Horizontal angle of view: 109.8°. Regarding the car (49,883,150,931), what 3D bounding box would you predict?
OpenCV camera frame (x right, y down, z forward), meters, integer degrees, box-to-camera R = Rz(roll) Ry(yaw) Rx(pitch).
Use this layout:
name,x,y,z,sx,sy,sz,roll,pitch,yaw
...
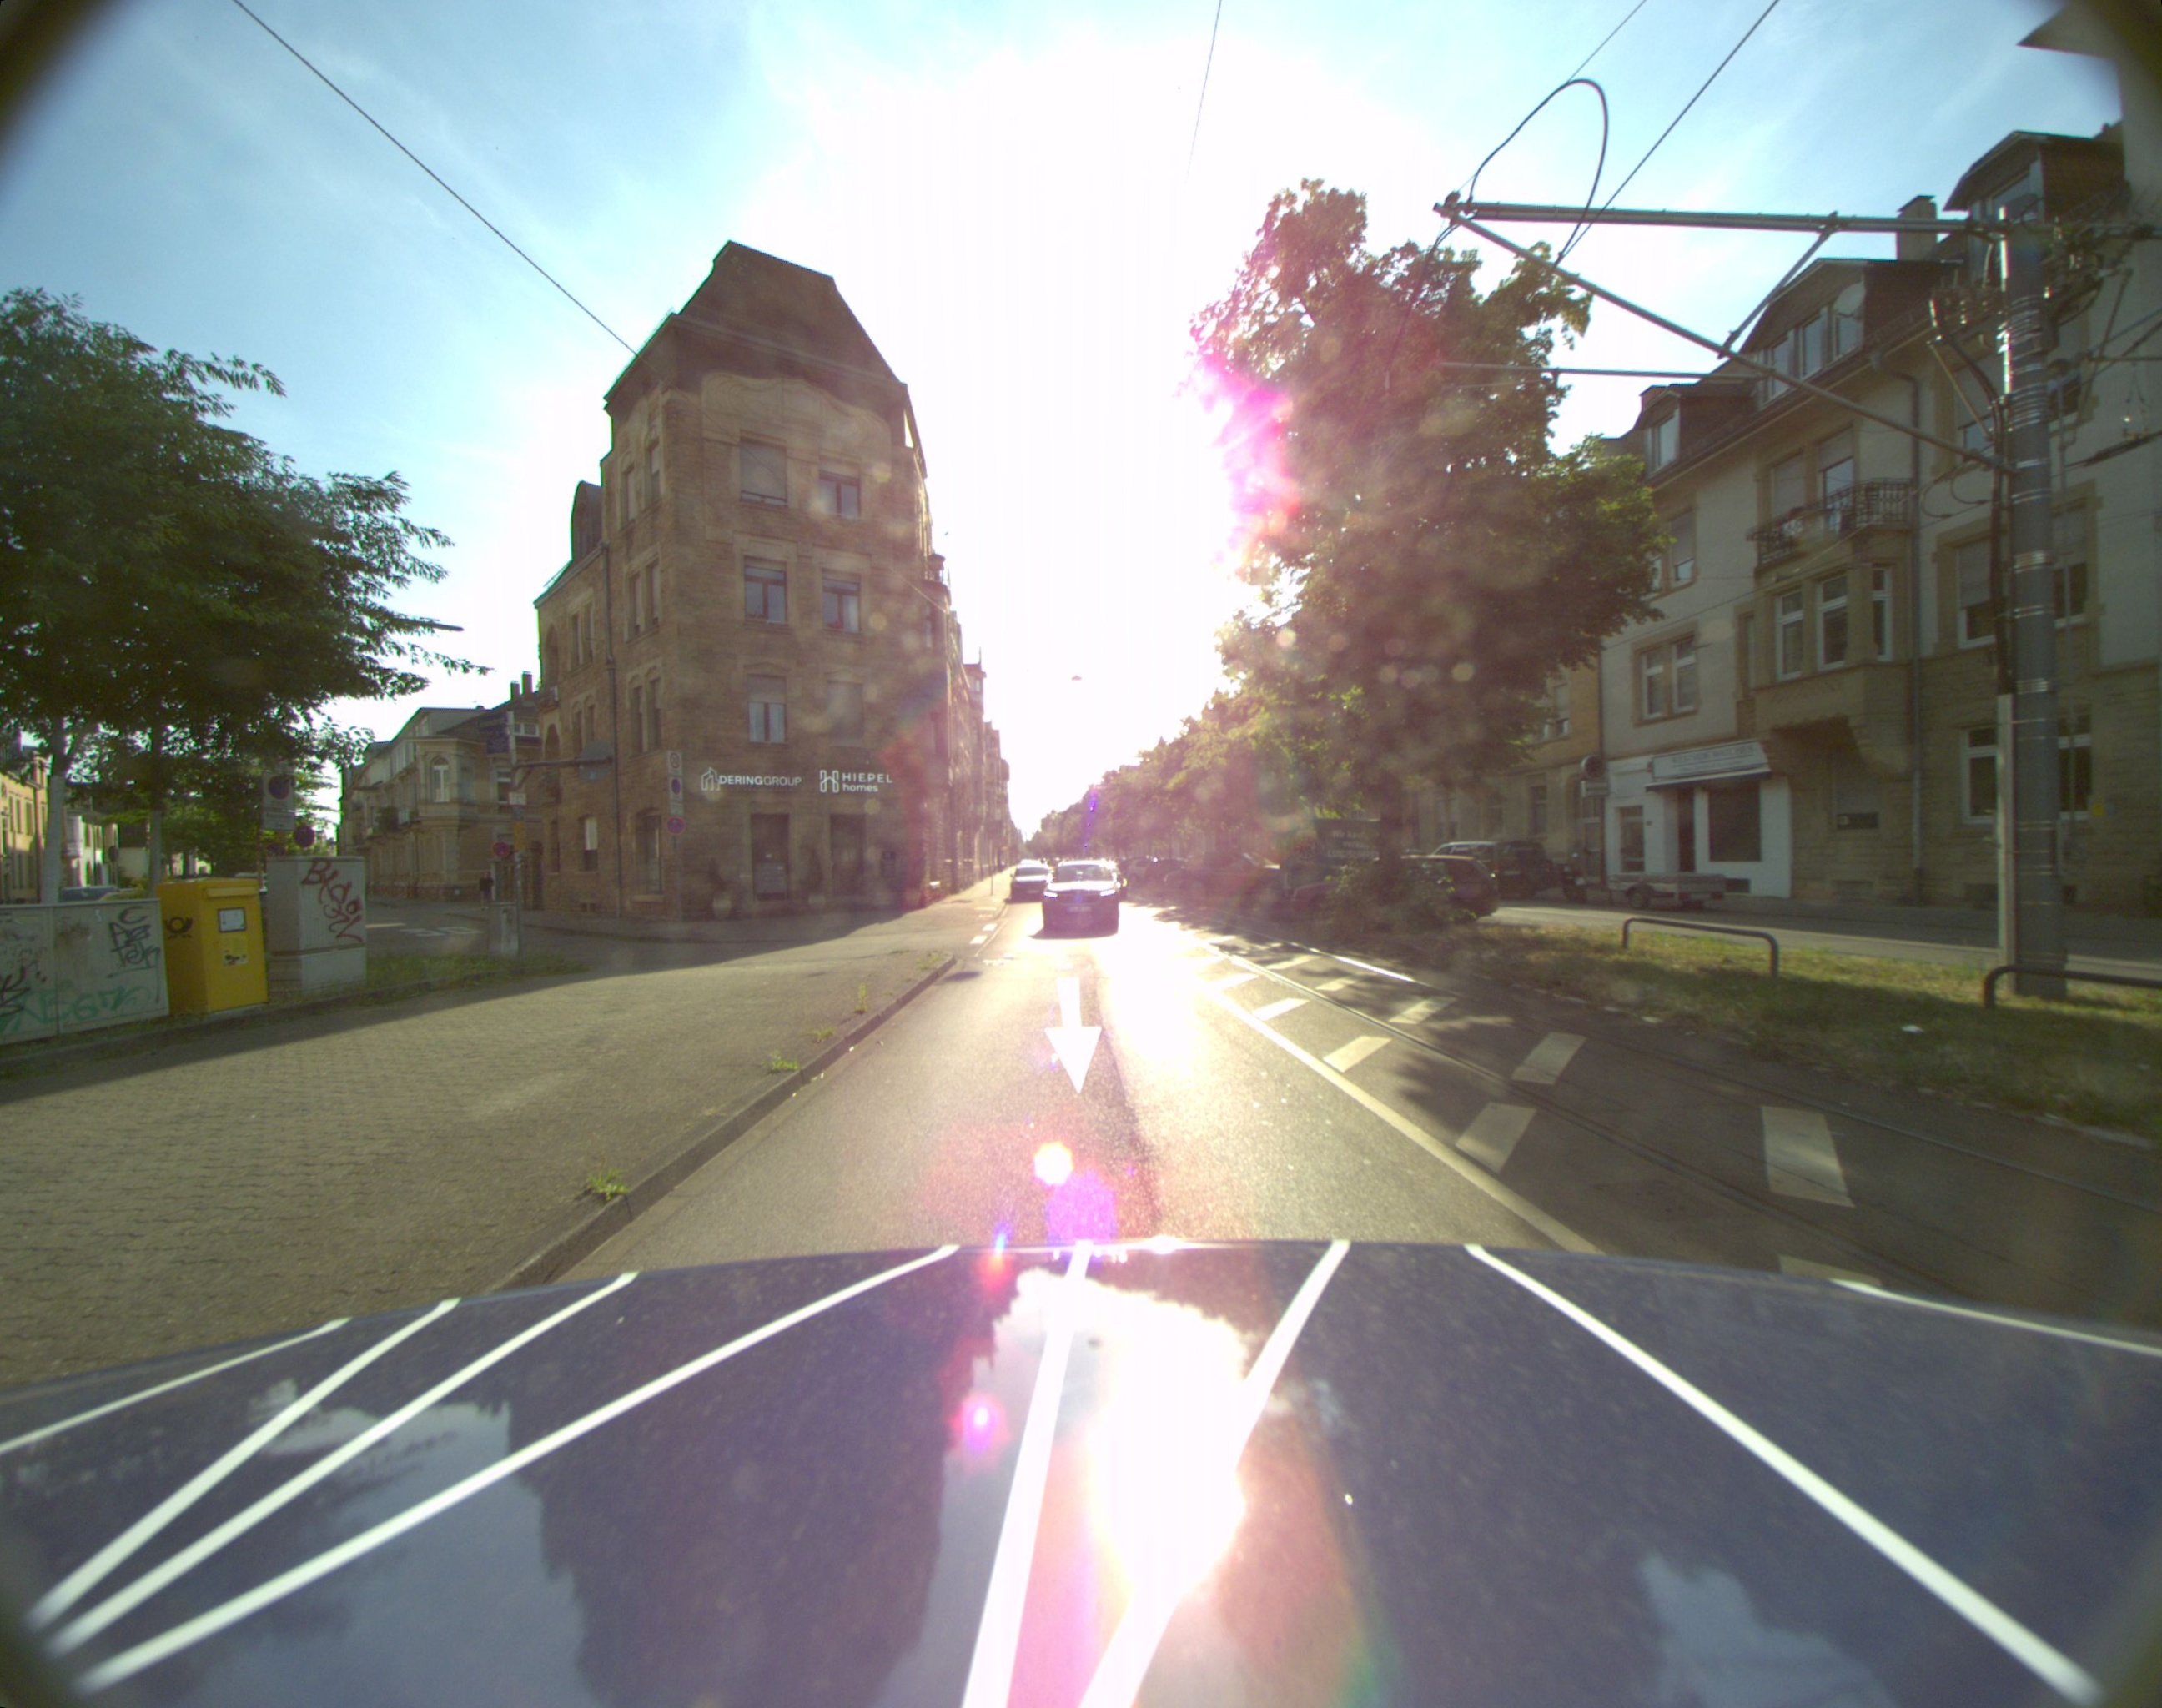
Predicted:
name,x,y,z,sx,sy,sz,roll,pitch,yaw
car,-38.673,2.044,30.046,3.989,1.641,2.004,-3,0,44

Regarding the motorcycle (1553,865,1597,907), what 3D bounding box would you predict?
name,x,y,z,sx,sy,sz,roll,pitch,yaw
motorcycle,13.672,0.873,21.061,0.636,1.074,1.736,-2,0,21

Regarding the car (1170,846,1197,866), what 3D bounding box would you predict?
name,x,y,z,sx,sy,sz,roll,pitch,yaw
car,10.963,0.216,81.488,1.999,2.002,3.999,-3,0,-3

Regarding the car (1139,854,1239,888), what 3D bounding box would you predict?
name,x,y,z,sx,sy,sz,roll,pitch,yaw
car,5.179,0.831,36.642,4.295,1.414,1.963,-3,0,38

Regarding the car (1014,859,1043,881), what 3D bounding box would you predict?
name,x,y,z,sx,sy,sz,roll,pitch,yaw
car,-3.679,1.105,53.926,1.840,1.472,3.999,-3,0,-2

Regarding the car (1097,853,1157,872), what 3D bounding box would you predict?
name,x,y,z,sx,sy,sz,roll,pitch,yaw
car,3.666,0.670,60.981,4.260,1.414,2.176,-2,0,38

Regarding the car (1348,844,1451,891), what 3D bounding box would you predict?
name,x,y,z,sx,sy,sz,roll,pitch,yaw
car,13.075,0.532,31.574,2.171,1.739,4.610,-3,0,-2

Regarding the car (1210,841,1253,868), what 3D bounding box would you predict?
name,x,y,z,sx,sy,sz,roll,pitch,yaw
car,11.423,0.077,57.947,2.171,1.890,4.610,-3,0,-2

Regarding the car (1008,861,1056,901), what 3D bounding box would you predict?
name,x,y,z,sx,sy,sz,roll,pitch,yaw
car,-2.159,1.099,32.503,1.841,1.494,4.264,-3,0,-5

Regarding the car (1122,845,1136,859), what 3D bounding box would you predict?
name,x,y,z,sx,sy,sz,roll,pitch,yaw
car,7.701,-0.319,122.103,1.999,2.002,4.000,-3,0,0

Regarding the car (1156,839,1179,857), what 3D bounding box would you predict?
name,x,y,z,sx,sy,sz,roll,pitch,yaw
car,10.372,-0.702,91.482,1.999,2.002,3.999,-3,0,-3

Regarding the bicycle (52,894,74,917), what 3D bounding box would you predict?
name,x,y,z,sx,sy,sz,roll,pitch,yaw
bicycle,-58.296,2.934,43.530,1.565,1.250,0.573,-1,0,43

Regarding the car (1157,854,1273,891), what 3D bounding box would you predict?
name,x,y,z,sx,sy,sz,roll,pitch,yaw
car,5.766,0.809,32.854,4.598,1.373,1.704,-3,0,31

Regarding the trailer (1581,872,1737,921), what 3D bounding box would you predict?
name,x,y,z,sx,sy,sz,roll,pitch,yaw
trailer,14.100,1.003,18.723,1.444,0.891,2.878,-8,0,-3

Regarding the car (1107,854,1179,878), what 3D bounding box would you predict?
name,x,y,z,sx,sy,sz,roll,pitch,yaw
car,4.132,0.801,50.921,4.260,1.414,2.176,-3,0,38

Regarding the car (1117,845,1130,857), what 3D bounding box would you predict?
name,x,y,z,sx,sy,sz,roll,pitch,yaw
car,7.516,-0.431,133.737,1.999,2.002,4.000,-3,0,0

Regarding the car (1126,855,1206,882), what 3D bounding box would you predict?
name,x,y,z,sx,sy,sz,roll,pitch,yaw
car,4.853,0.848,43.632,4.260,1.414,1.685,-3,0,38

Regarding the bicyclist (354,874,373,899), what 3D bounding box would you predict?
name,x,y,z,sx,sy,sz,roll,pitch,yaw
bicyclist,-43.747,1.973,46.331,0.653,1.447,0.745,-2,0,44

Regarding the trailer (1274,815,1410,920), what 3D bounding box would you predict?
name,x,y,z,sx,sy,sz,roll,pitch,yaw
trailer,6.437,0.349,18.710,2.859,2.378,1.726,-3,0,28

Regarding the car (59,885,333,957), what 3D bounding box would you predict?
name,x,y,z,sx,sy,sz,roll,pitch,yaw
car,-23.710,1.747,20.583,4.454,1.505,1.998,-3,0,-13

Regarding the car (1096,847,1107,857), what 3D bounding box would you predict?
name,x,y,z,sx,sy,sz,roll,pitch,yaw
car,4.584,-0.484,167.634,1.999,2.002,3.998,-3,0,-4

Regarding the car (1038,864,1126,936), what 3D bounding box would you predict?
name,x,y,z,sx,sy,sz,roll,pitch,yaw
car,0.012,1.009,18.245,1.840,1.472,4.000,-2,0,0

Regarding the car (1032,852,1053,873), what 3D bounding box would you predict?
name,x,y,z,sx,sy,sz,roll,pitch,yaw
car,-4.009,0.851,77.999,1.999,2.002,3.998,-2,0,-4

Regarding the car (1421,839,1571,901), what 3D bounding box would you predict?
name,x,y,z,sx,sy,sz,roll,pitch,yaw
car,13.389,0.494,24.934,2.171,1.739,4.717,-3,0,-2

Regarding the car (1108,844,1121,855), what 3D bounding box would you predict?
name,x,y,z,sx,sy,sz,roll,pitch,yaw
car,6.410,-0.776,145.999,1.999,2.002,3.998,-3,0,-4

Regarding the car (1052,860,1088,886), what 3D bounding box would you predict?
name,x,y,z,sx,sy,sz,roll,pitch,yaw
car,-0.772,1.198,49.087,1.999,1.564,3.998,-3,0,-5

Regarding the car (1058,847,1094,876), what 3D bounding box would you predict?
name,x,y,z,sx,sy,sz,roll,pitch,yaw
car,-0.335,0.426,42.722,1.840,1.472,3.999,-3,0,-2

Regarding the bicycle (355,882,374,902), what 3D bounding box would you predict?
name,x,y,z,sx,sy,sz,roll,pitch,yaw
bicycle,-43.641,2.298,46.290,2.473,1.149,0.696,-3,0,45

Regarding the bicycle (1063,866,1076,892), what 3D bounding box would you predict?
name,x,y,z,sx,sy,sz,roll,pitch,yaw
bicycle,-0.544,1.190,36.619,0.484,1.183,1.339,-3,0,-4

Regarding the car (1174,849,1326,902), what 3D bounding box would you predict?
name,x,y,z,sx,sy,sz,roll,pitch,yaw
car,5.903,0.746,26.733,4.705,1.680,2.176,-2,0,38

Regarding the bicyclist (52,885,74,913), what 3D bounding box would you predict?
name,x,y,z,sx,sy,sz,roll,pitch,yaw
bicyclist,-58.268,2.571,43.499,0.894,1.532,0.656,-1,1,43

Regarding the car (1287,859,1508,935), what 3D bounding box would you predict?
name,x,y,z,sx,sy,sz,roll,pitch,yaw
car,6.437,0.827,15.553,3.943,1.352,1.676,-1,0,31

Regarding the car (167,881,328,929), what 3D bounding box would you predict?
name,x,y,z,sx,sy,sz,roll,pitch,yaw
car,-34.278,2.064,31.373,4.001,1.641,1.998,-3,0,-12

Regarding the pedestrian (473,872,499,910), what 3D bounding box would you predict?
name,x,y,z,sx,sy,sz,roll,pitch,yaw
pedestrian,-26.675,1.642,34.048,0.781,1.665,0.765,-2,0,45

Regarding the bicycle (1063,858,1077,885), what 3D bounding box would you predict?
name,x,y,z,sx,sy,sz,roll,pitch,yaw
bicycle,-0.555,0.833,36.611,0.575,1.290,0.688,-3,0,-5

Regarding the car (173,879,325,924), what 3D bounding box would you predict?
name,x,y,z,sx,sy,sz,roll,pitch,yaw
car,-36.427,2.036,33.424,4.005,1.641,1.996,-2,0,-28
